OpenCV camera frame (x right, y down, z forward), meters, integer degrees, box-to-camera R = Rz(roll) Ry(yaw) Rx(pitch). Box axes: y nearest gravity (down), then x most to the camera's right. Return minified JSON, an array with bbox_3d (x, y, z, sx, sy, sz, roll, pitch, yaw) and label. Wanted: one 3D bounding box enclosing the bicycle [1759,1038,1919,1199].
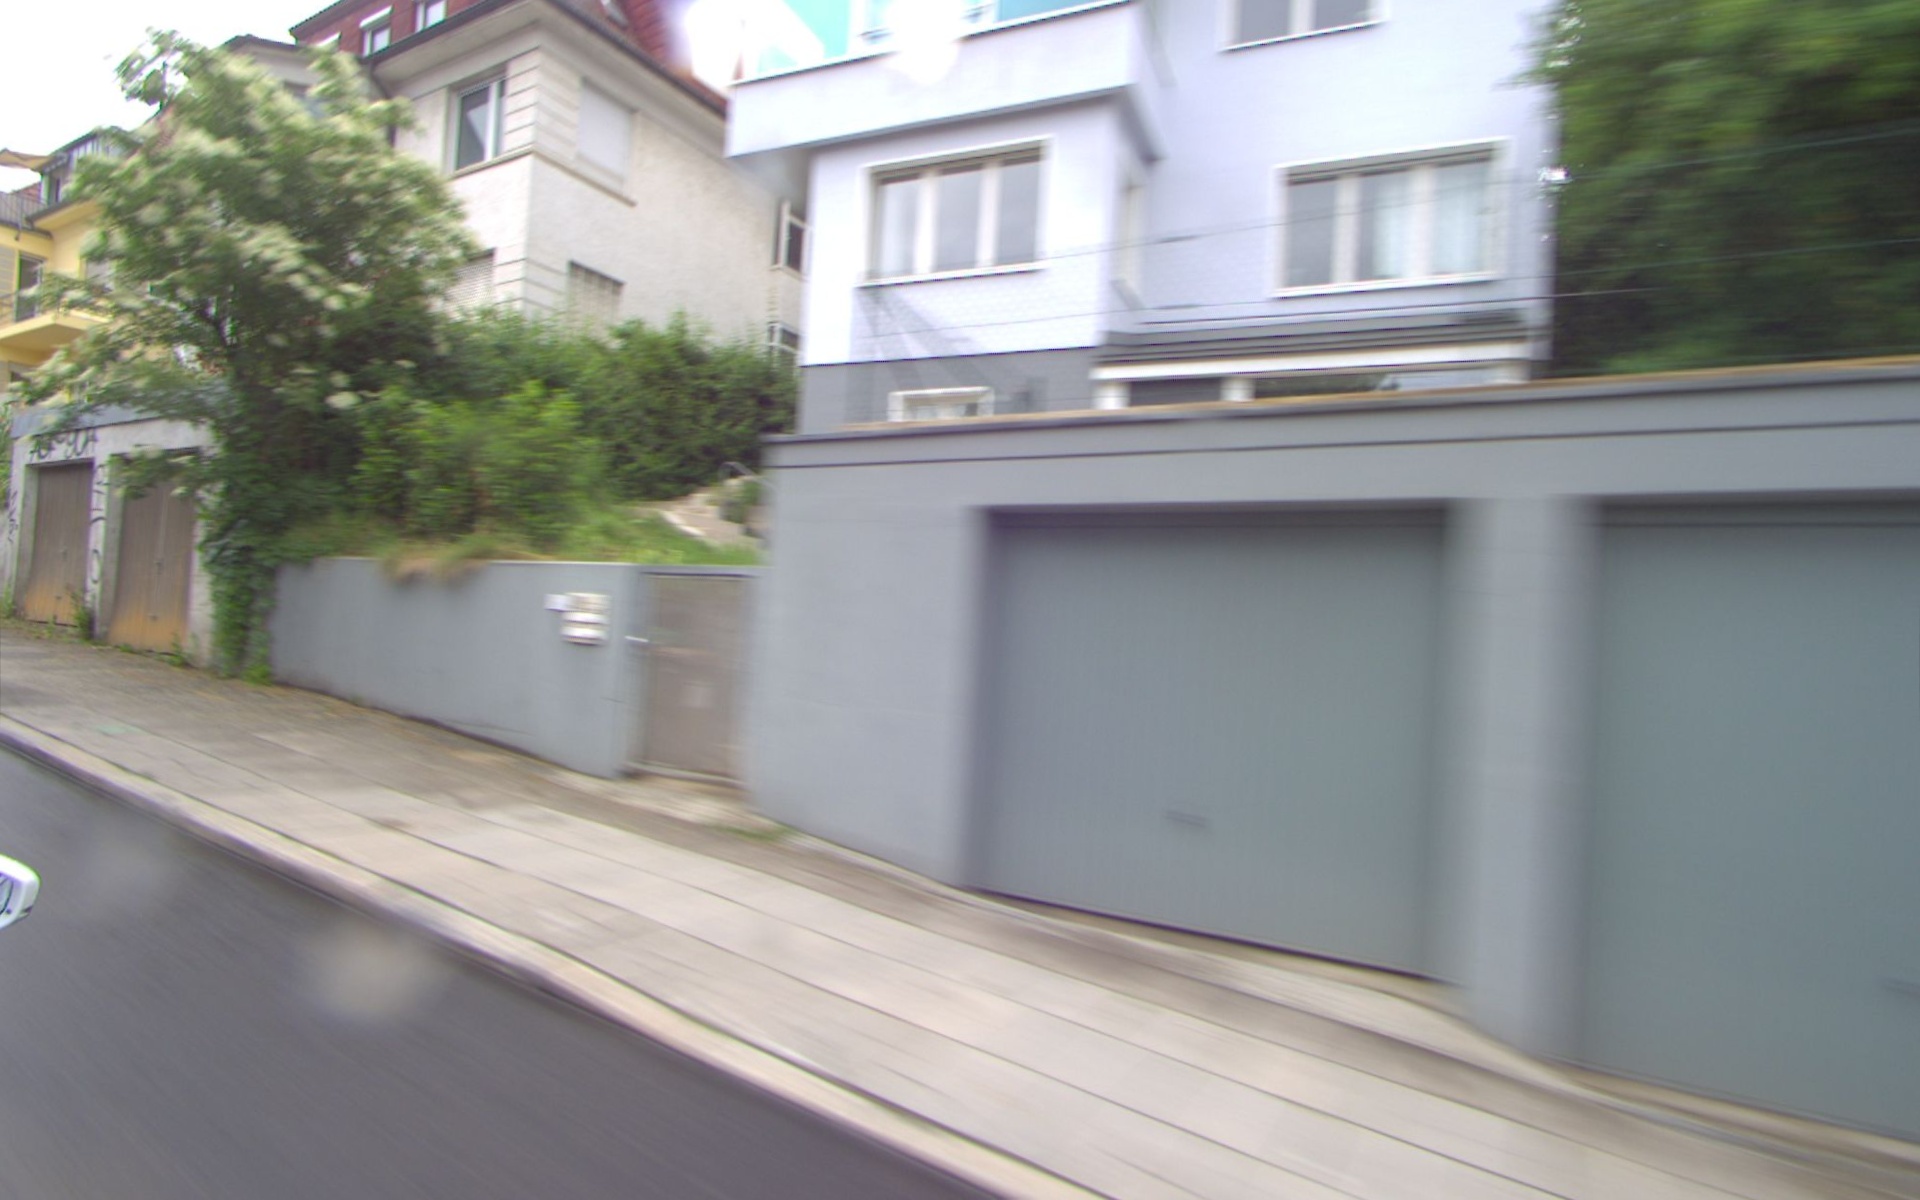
[{"bbox_3d":[2.010,1.347,1.158,1.642,0.976,0.732,6,-2,30],"label":"bicycle"}]
